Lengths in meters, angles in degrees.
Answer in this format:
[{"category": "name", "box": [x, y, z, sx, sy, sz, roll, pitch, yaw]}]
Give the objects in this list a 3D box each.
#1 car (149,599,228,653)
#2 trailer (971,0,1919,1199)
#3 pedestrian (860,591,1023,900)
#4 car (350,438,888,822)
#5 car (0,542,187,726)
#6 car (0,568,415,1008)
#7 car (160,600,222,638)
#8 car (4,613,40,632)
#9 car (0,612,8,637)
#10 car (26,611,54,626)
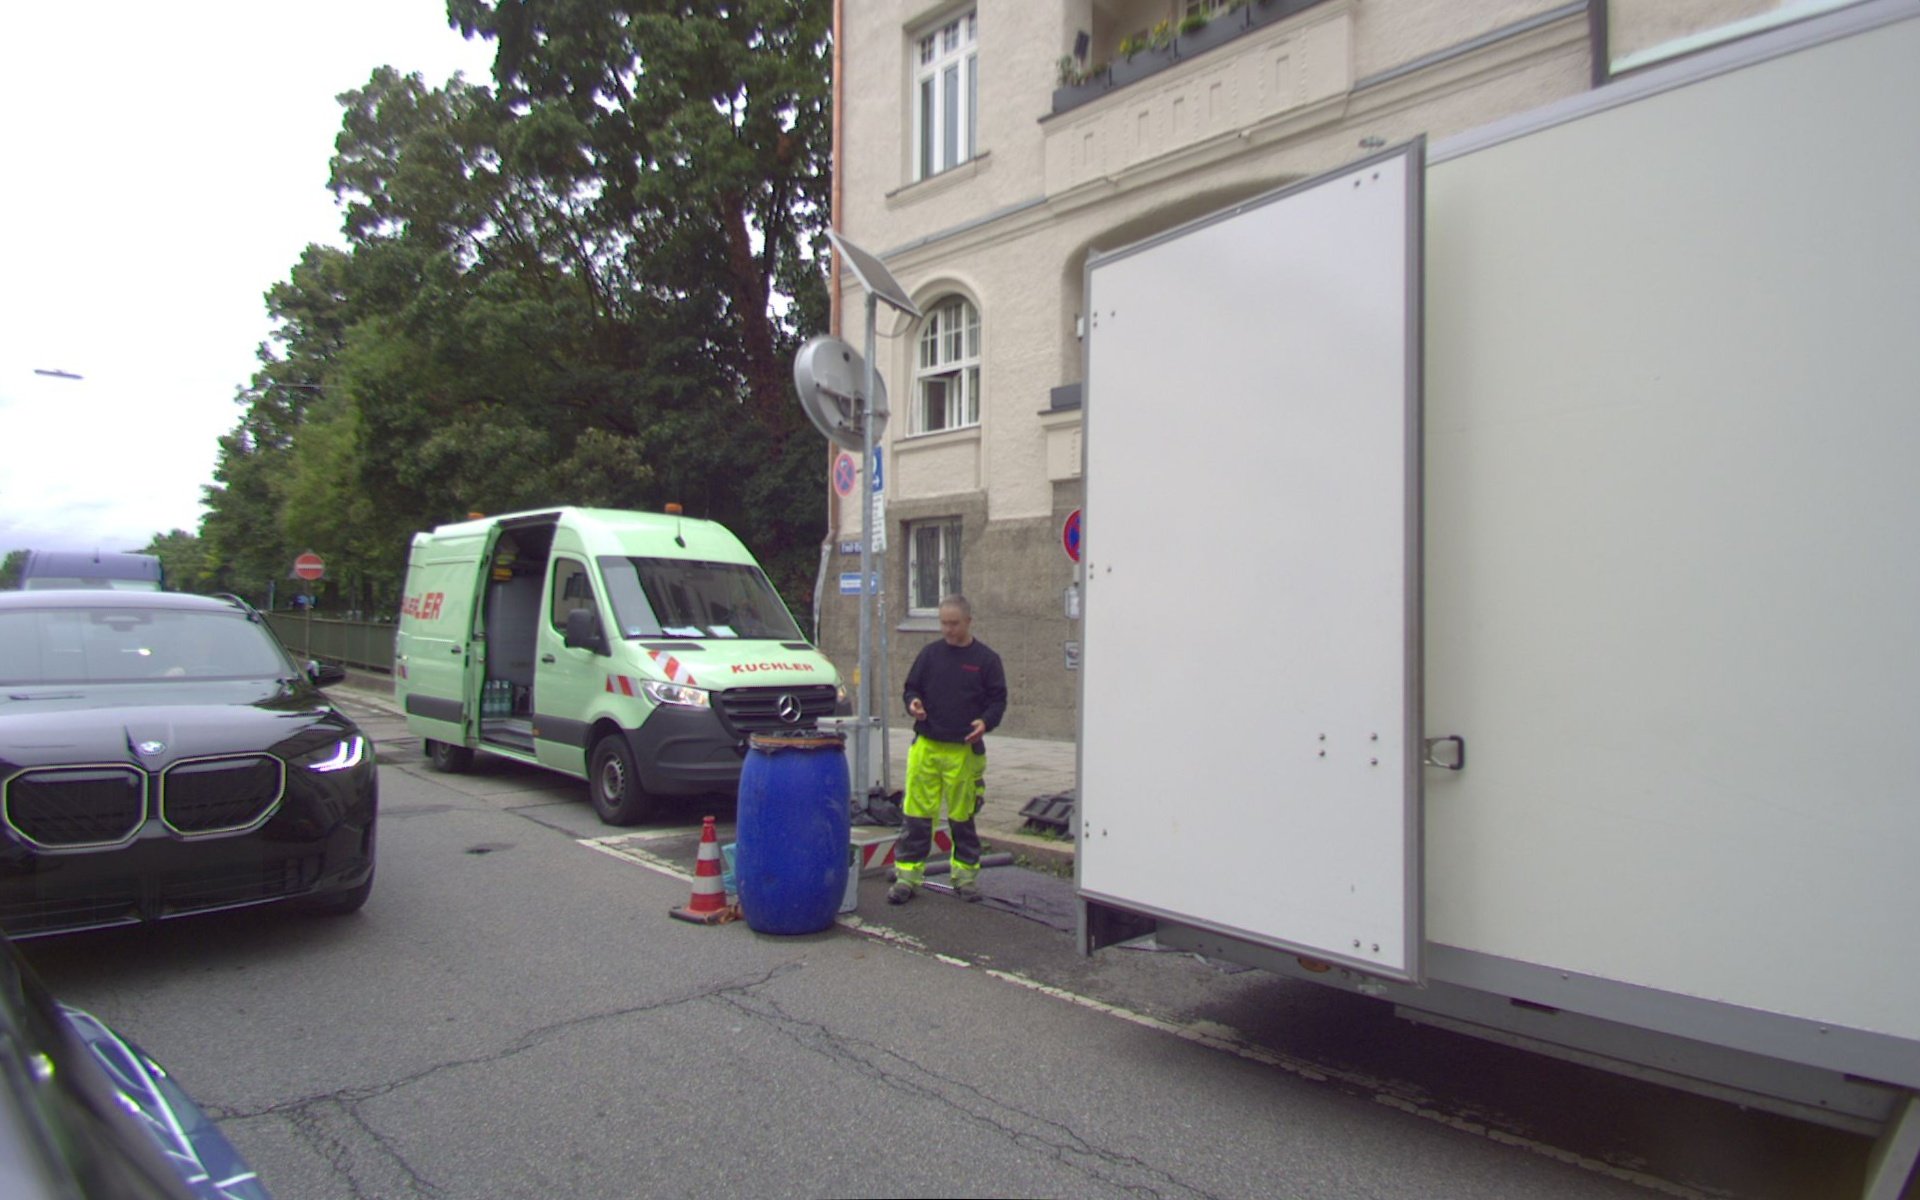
[{"category": "car", "box": [-26.191, 0.883, 34.458, 1.789, 1.601, 4.174, 7, -5, -34]}, {"category": "trailer", "box": [3.726, 0.056, 1.955, 2.771, 2.992, 7.604, 6, -6, -44]}, {"category": "pedestrian", "box": [-0.086, 0.757, 5.711, 0.634, 1.592, 0.757, 0, -2, 26]}, {"category": "car", "box": [-3.765, 0.256, 9.959, 6.796, 2.592, 2.117, -1, -2, 44]}, {"category": "car", "box": [-14.229, 0.471, 16.811, 1.974, 2.510, 6.248, 1, 0, -36]}, {"category": "car", "box": [-4.632, 0.759, 5.491, 1.894, 1.577, 4.298, 2, -4, -43]}, {"category": "car", "box": [-33.748, 0.846, 44.488, 1.789, 1.474, 4.175, 7, -5, -34]}, {"category": "car", "box": [-73.168, 1.724, 78.964, 1.810, 1.409, 4.006, 3, -3, -40]}, {"category": "car", "box": [-56.133, 1.368, 58.164, 1.810, 1.409, 4.006, 3, -3, -40]}, {"category": "car", "box": [-87.682, 1.784, 96.515, 1.810, 1.409, 4.006, 3, -3, -40]}]
